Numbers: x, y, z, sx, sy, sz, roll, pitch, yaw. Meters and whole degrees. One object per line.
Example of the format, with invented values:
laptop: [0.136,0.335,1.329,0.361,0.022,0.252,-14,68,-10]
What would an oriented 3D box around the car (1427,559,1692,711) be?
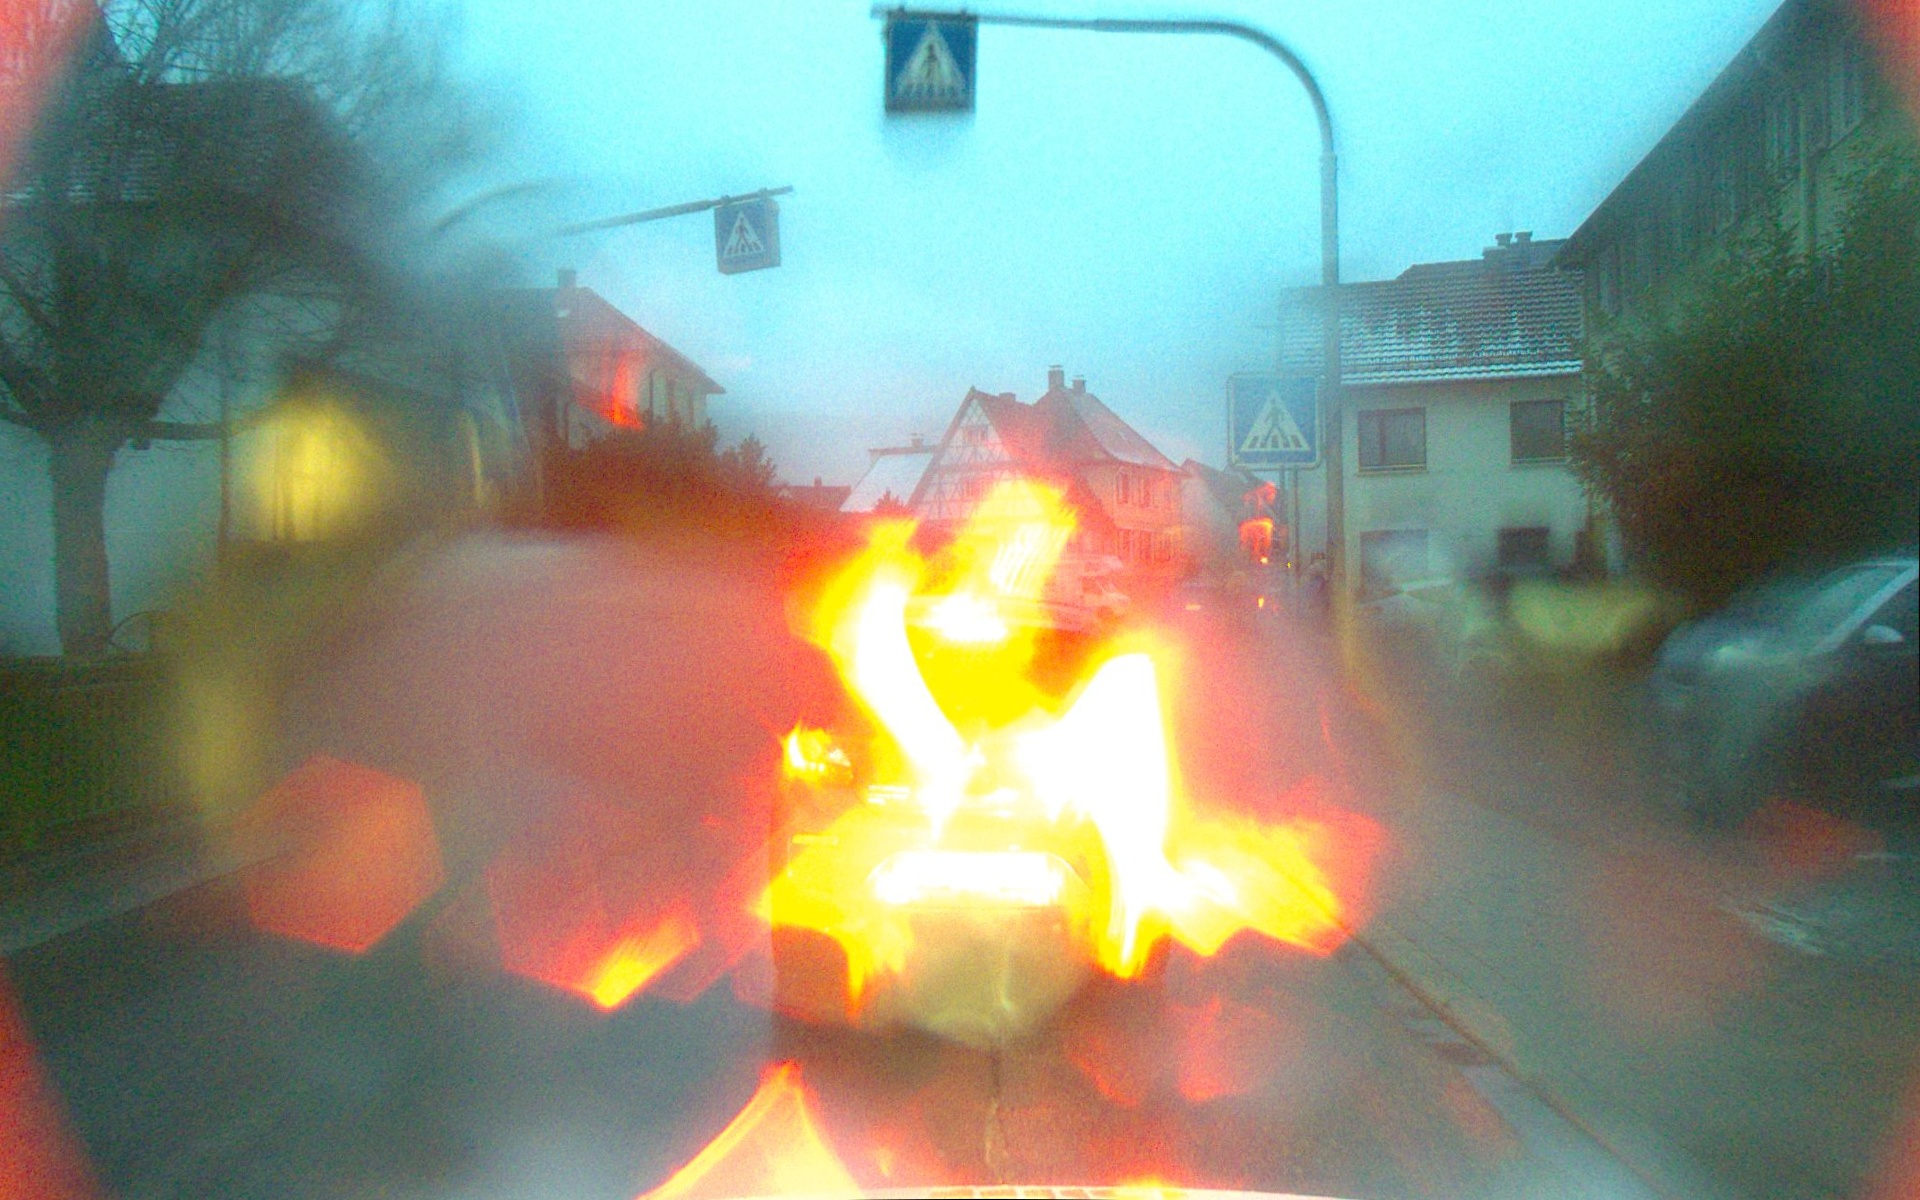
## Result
car: [6.816,0.378,19.010,2.528,1.574,1.552,-2,1,7]

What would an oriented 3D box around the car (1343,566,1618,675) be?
car: [7.988,0.312,25.711,3.816,1.499,1.752,-2,0,10]

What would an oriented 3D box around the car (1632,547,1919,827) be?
car: [5.575,0.448,9.699,2.704,1.500,1.428,-2,0,7]

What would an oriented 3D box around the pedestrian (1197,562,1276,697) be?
pedestrian: [3.671,0.376,21.898,0.848,1.696,0.993,-4,0,14]

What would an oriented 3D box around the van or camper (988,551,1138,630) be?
van or camper: [4.516,-0.390,72.526,5.937,3.006,2.406,-4,-1,22]

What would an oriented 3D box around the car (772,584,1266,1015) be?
car: [0.033,0.682,7.841,1.760,1.502,3.995,0,0,-6]

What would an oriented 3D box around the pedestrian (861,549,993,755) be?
pedestrian: [-0.284,0.455,15.033,0.861,1.765,0.956,-4,0,15]

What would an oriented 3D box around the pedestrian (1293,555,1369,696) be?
pedestrian: [4.862,0.323,21.635,0.830,1.763,0.972,-4,0,15]

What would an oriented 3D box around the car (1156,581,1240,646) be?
car: [6.509,0.349,44.958,1.808,1.665,4.339,0,0,14]
